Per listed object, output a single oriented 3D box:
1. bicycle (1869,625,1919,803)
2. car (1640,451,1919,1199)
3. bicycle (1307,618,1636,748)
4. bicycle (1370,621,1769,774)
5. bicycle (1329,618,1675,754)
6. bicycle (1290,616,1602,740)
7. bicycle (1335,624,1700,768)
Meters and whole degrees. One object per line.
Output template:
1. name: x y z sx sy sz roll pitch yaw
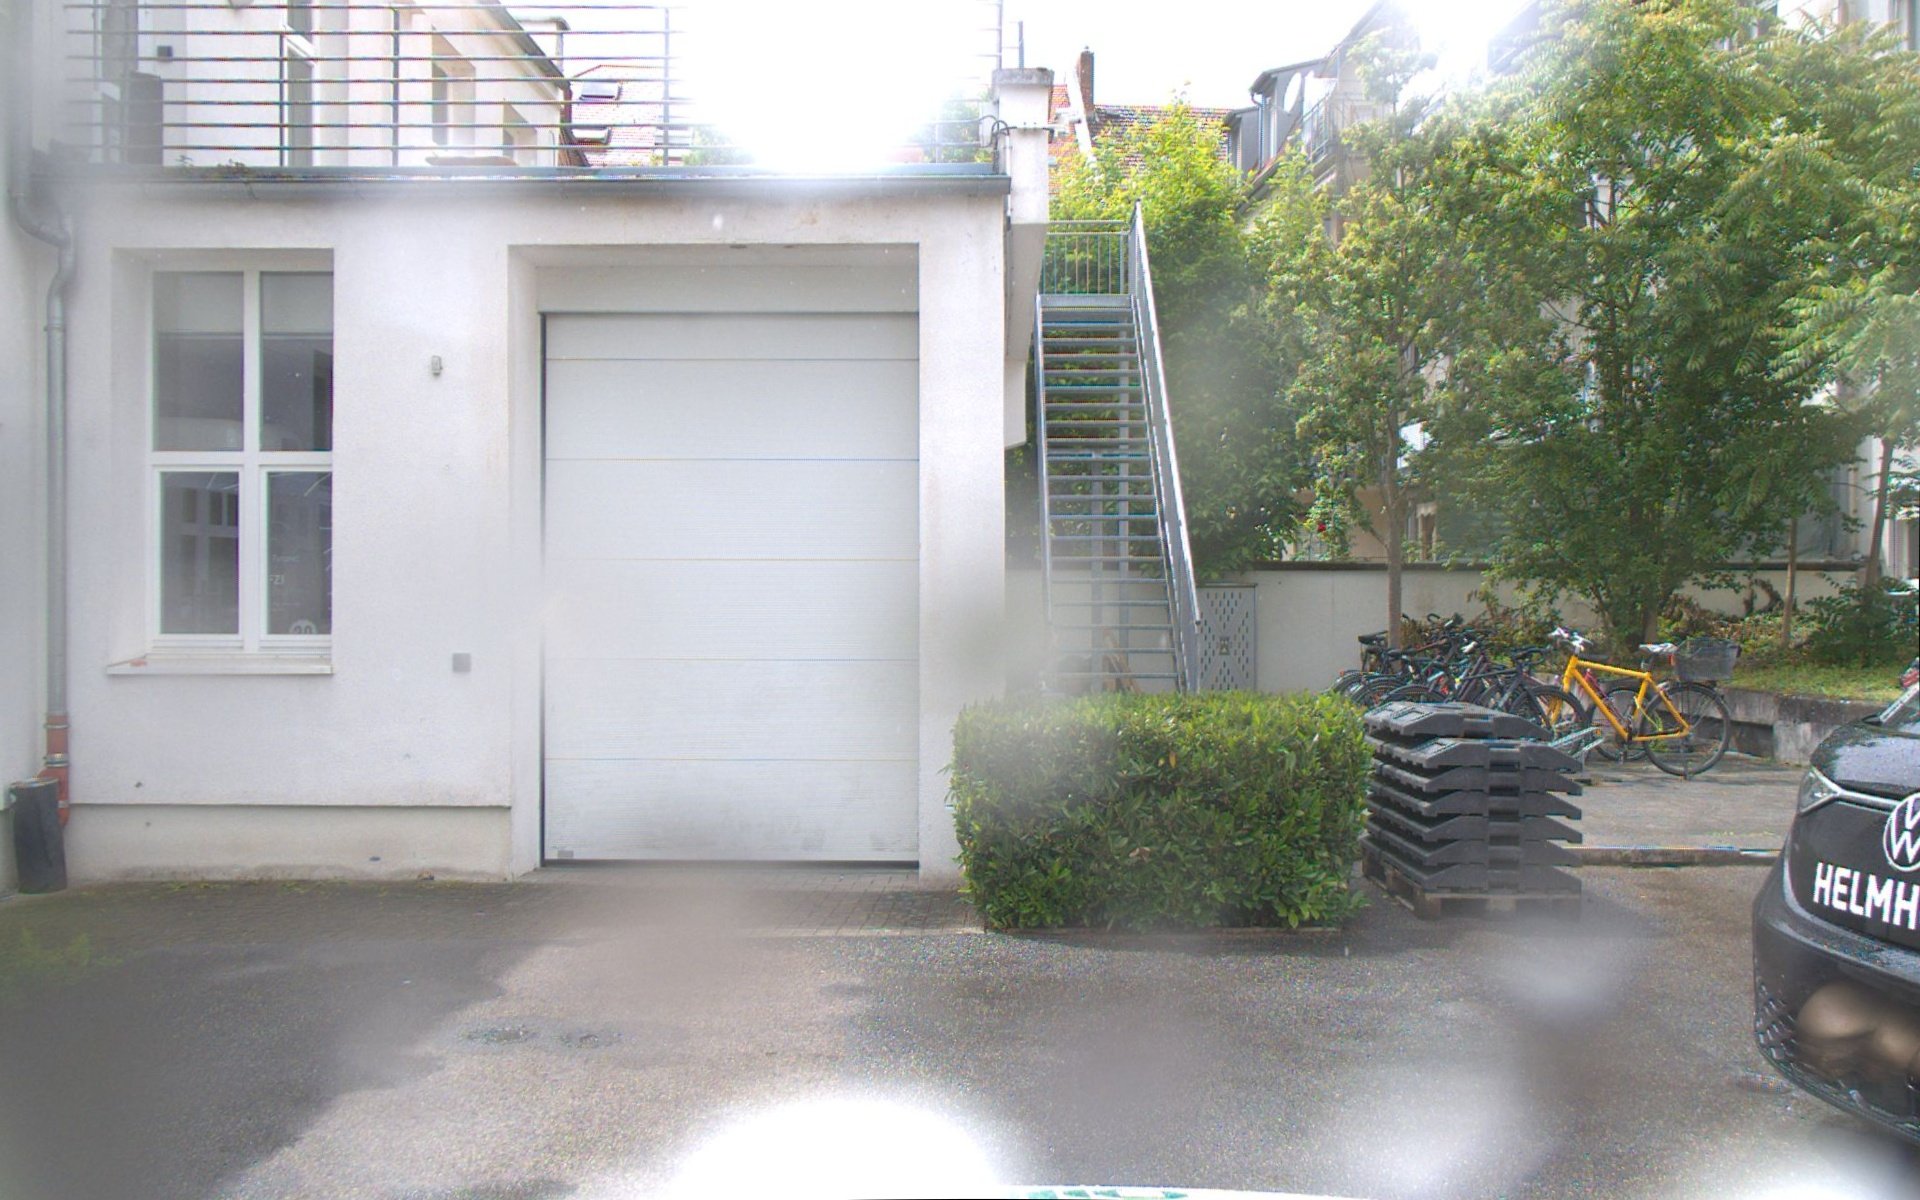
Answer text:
1. bicycle: 6.747 0.762 10.740 0.602 1.179 1.720 -1 0 -6
2. car: 4.590 0.509 4.484 4.619 1.865 2.108 -2 0 -6
3. bicycle: 4.647 0.752 15.125 2.786 1.097 0.689 1 1 -2
4. bicycle: 4.724 0.752 12.909 2.864 1.097 0.689 1 1 -2
5. bicycle: 4.694 0.738 14.412 2.786 1.097 0.689 1 1 -2
6. bicycle: 4.626 0.737 15.832 2.786 1.097 0.689 1 1 -2
7. bicycle: 4.582 0.782 13.684 2.786 1.097 0.689 1 1 -2
